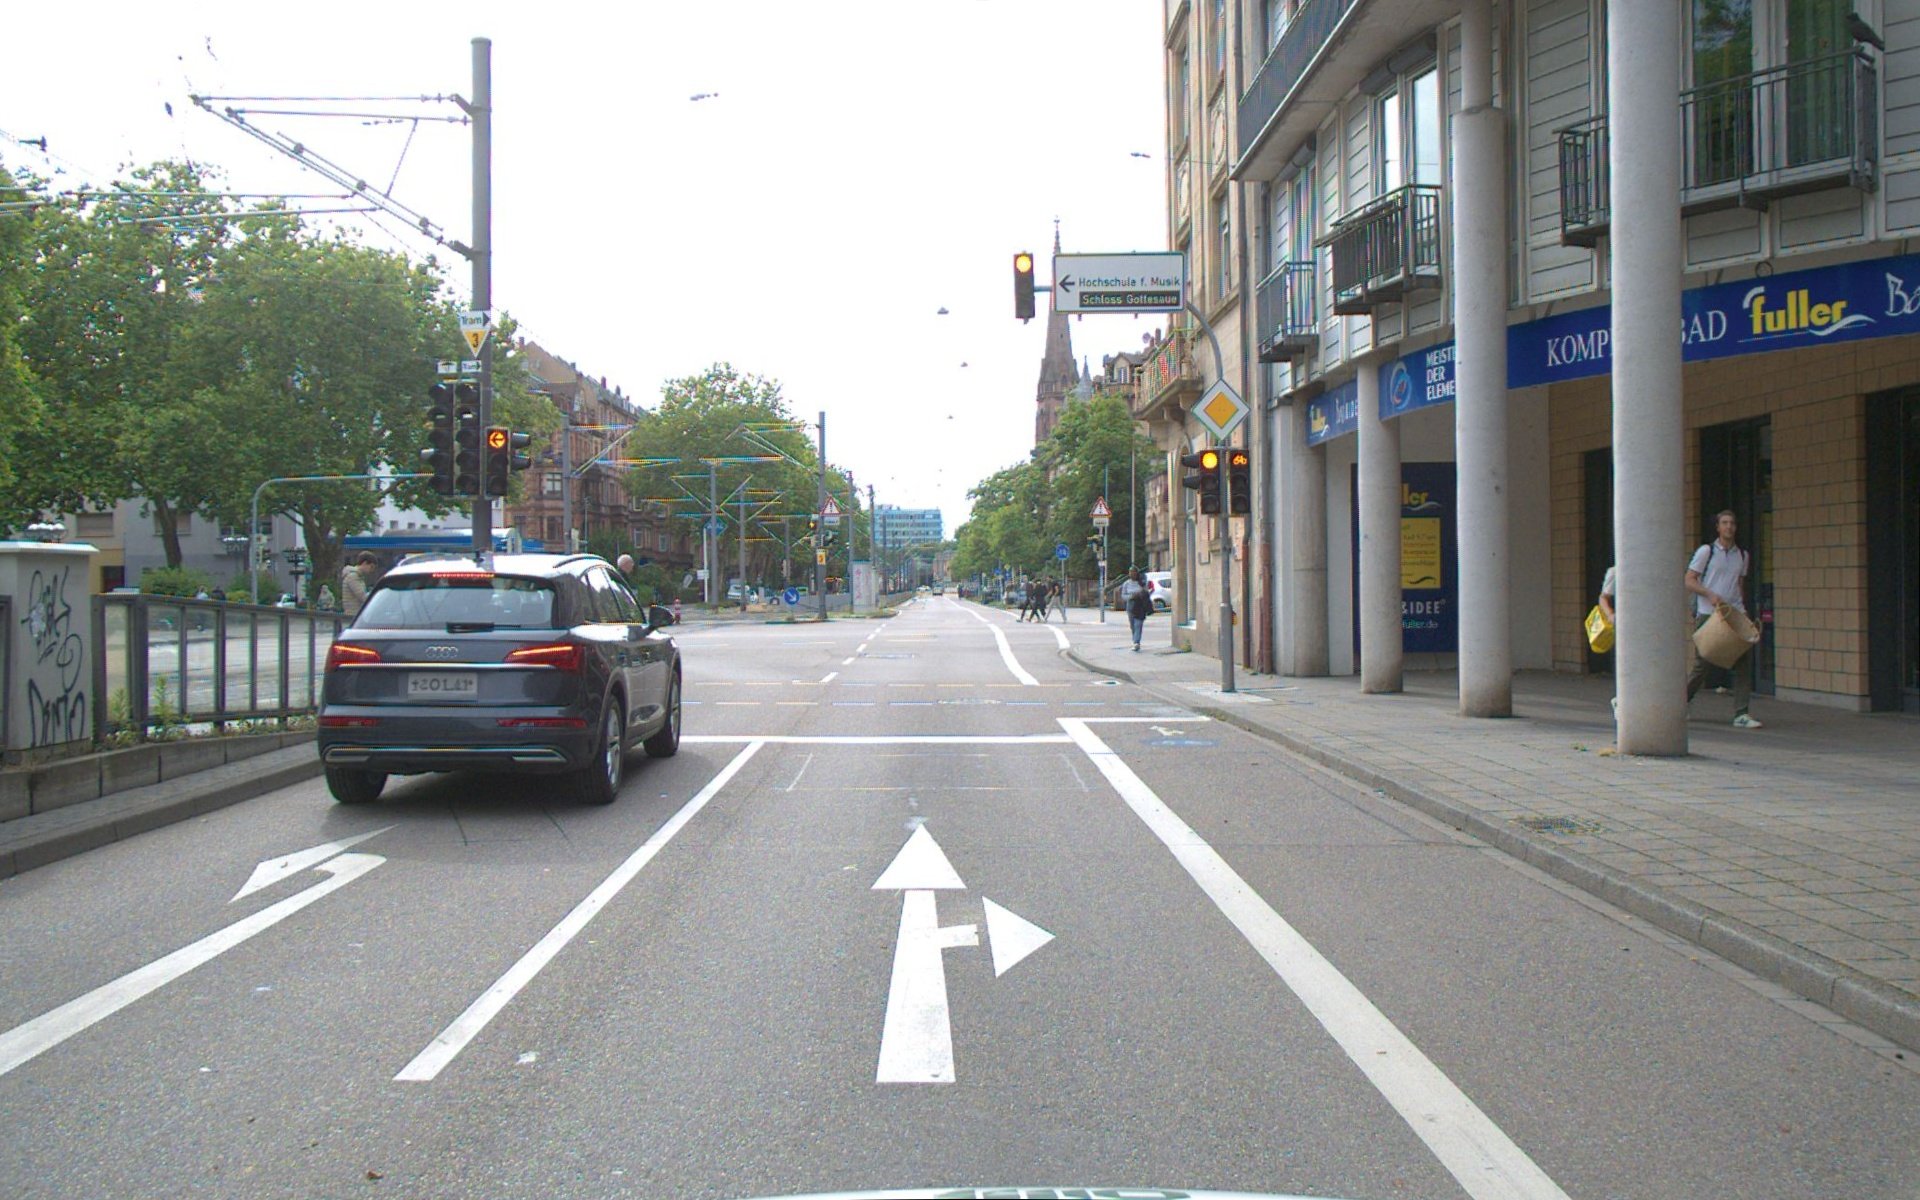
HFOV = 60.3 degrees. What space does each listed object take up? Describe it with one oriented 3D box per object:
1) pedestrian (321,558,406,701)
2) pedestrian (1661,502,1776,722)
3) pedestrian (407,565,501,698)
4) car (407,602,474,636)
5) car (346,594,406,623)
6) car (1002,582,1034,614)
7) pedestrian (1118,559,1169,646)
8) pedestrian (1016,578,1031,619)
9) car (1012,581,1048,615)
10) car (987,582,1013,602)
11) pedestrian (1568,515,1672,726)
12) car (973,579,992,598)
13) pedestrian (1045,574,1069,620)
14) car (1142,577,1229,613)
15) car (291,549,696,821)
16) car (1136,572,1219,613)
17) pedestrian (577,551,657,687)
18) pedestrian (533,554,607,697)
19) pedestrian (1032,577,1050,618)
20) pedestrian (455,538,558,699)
[{"bbox_3d":[-7.856,0.376,21.778,0.998,1.845,0.580,0,0,-24],"label":"pedestrian"},{"bbox_3d":[6.865,0.102,14.997,0.661,1.923,0.737,-2,0,0],"label":"pedestrian"},{"bbox_3d":[-6.520,0.394,21.335,0.618,1.681,0.989,0,0,45],"label":"pedestrian"},{"bbox_3d":[-21.898,0.792,69.849,1.601,1.348,3.999,0,0,-1],"label":"car"},{"bbox_3d":[-32.174,0.442,91.226,1.953,1.557,3.999,0,0,-1],"label":"car"},{"bbox_3d":[3.862,-0.148,111.025,1.953,2.049,3.999,0,0,-1],"label":"car"},{"bbox_3d":[3.678,0.050,33.072,0.659,1.709,0.865,0,0,38],"label":"pedestrian"},{"bbox_3d":[2.444,-0.052,63.883,0.535,1.564,0.465,0,0,-5],"label":"pedestrian"},{"bbox_3d":[4.303,-0.106,101.652,1.953,2.049,3.999,0,0,-1],"label":"car"},{"bbox_3d":[3.345,-0.659,139.830,1.953,1.635,4.163,-2,0,-1],"label":"car"},{"bbox_3d":[5.936,0.173,14.907,0.603,1.837,0.737,-2,0,0],"label":"pedestrian"},{"bbox_3d":[2.507,-1.242,183.794,1.953,2.049,3.999,0,0,-1],"label":"car"},{"bbox_3d":[3.620,-0.116,61.840,0.834,1.683,0.508,0,0,-3],"label":"pedestrian"},{"bbox_3d":[10.384,-0.240,76.373,3.721,1.629,2.000,0,0,-1],"label":"car"},{"bbox_3d":[-3.156,0.496,12.145,1.842,1.629,4.356,0,0,-2],"label":"car"},{"bbox_3d":[10.487,-0.343,79.785,3.721,1.937,2.000,0,0,-1],"label":"car"},{"bbox_3d":[-4.702,0.253,22.662,0.900,1.815,0.645,0,0,37],"label":"pedestrian"},{"bbox_3d":[-4.702,0.303,19.997,0.713,1.690,0.756,0,0,-1],"label":"pedestrian"},{"bbox_3d":[3.094,-0.094,63.367,0.640,1.564,0.465,0,0,-5],"label":"pedestrian"},{"bbox_3d":[-5.227,0.204,19.049,1.113,1.810,0.625,0,0,-19],"label":"pedestrian"}]
